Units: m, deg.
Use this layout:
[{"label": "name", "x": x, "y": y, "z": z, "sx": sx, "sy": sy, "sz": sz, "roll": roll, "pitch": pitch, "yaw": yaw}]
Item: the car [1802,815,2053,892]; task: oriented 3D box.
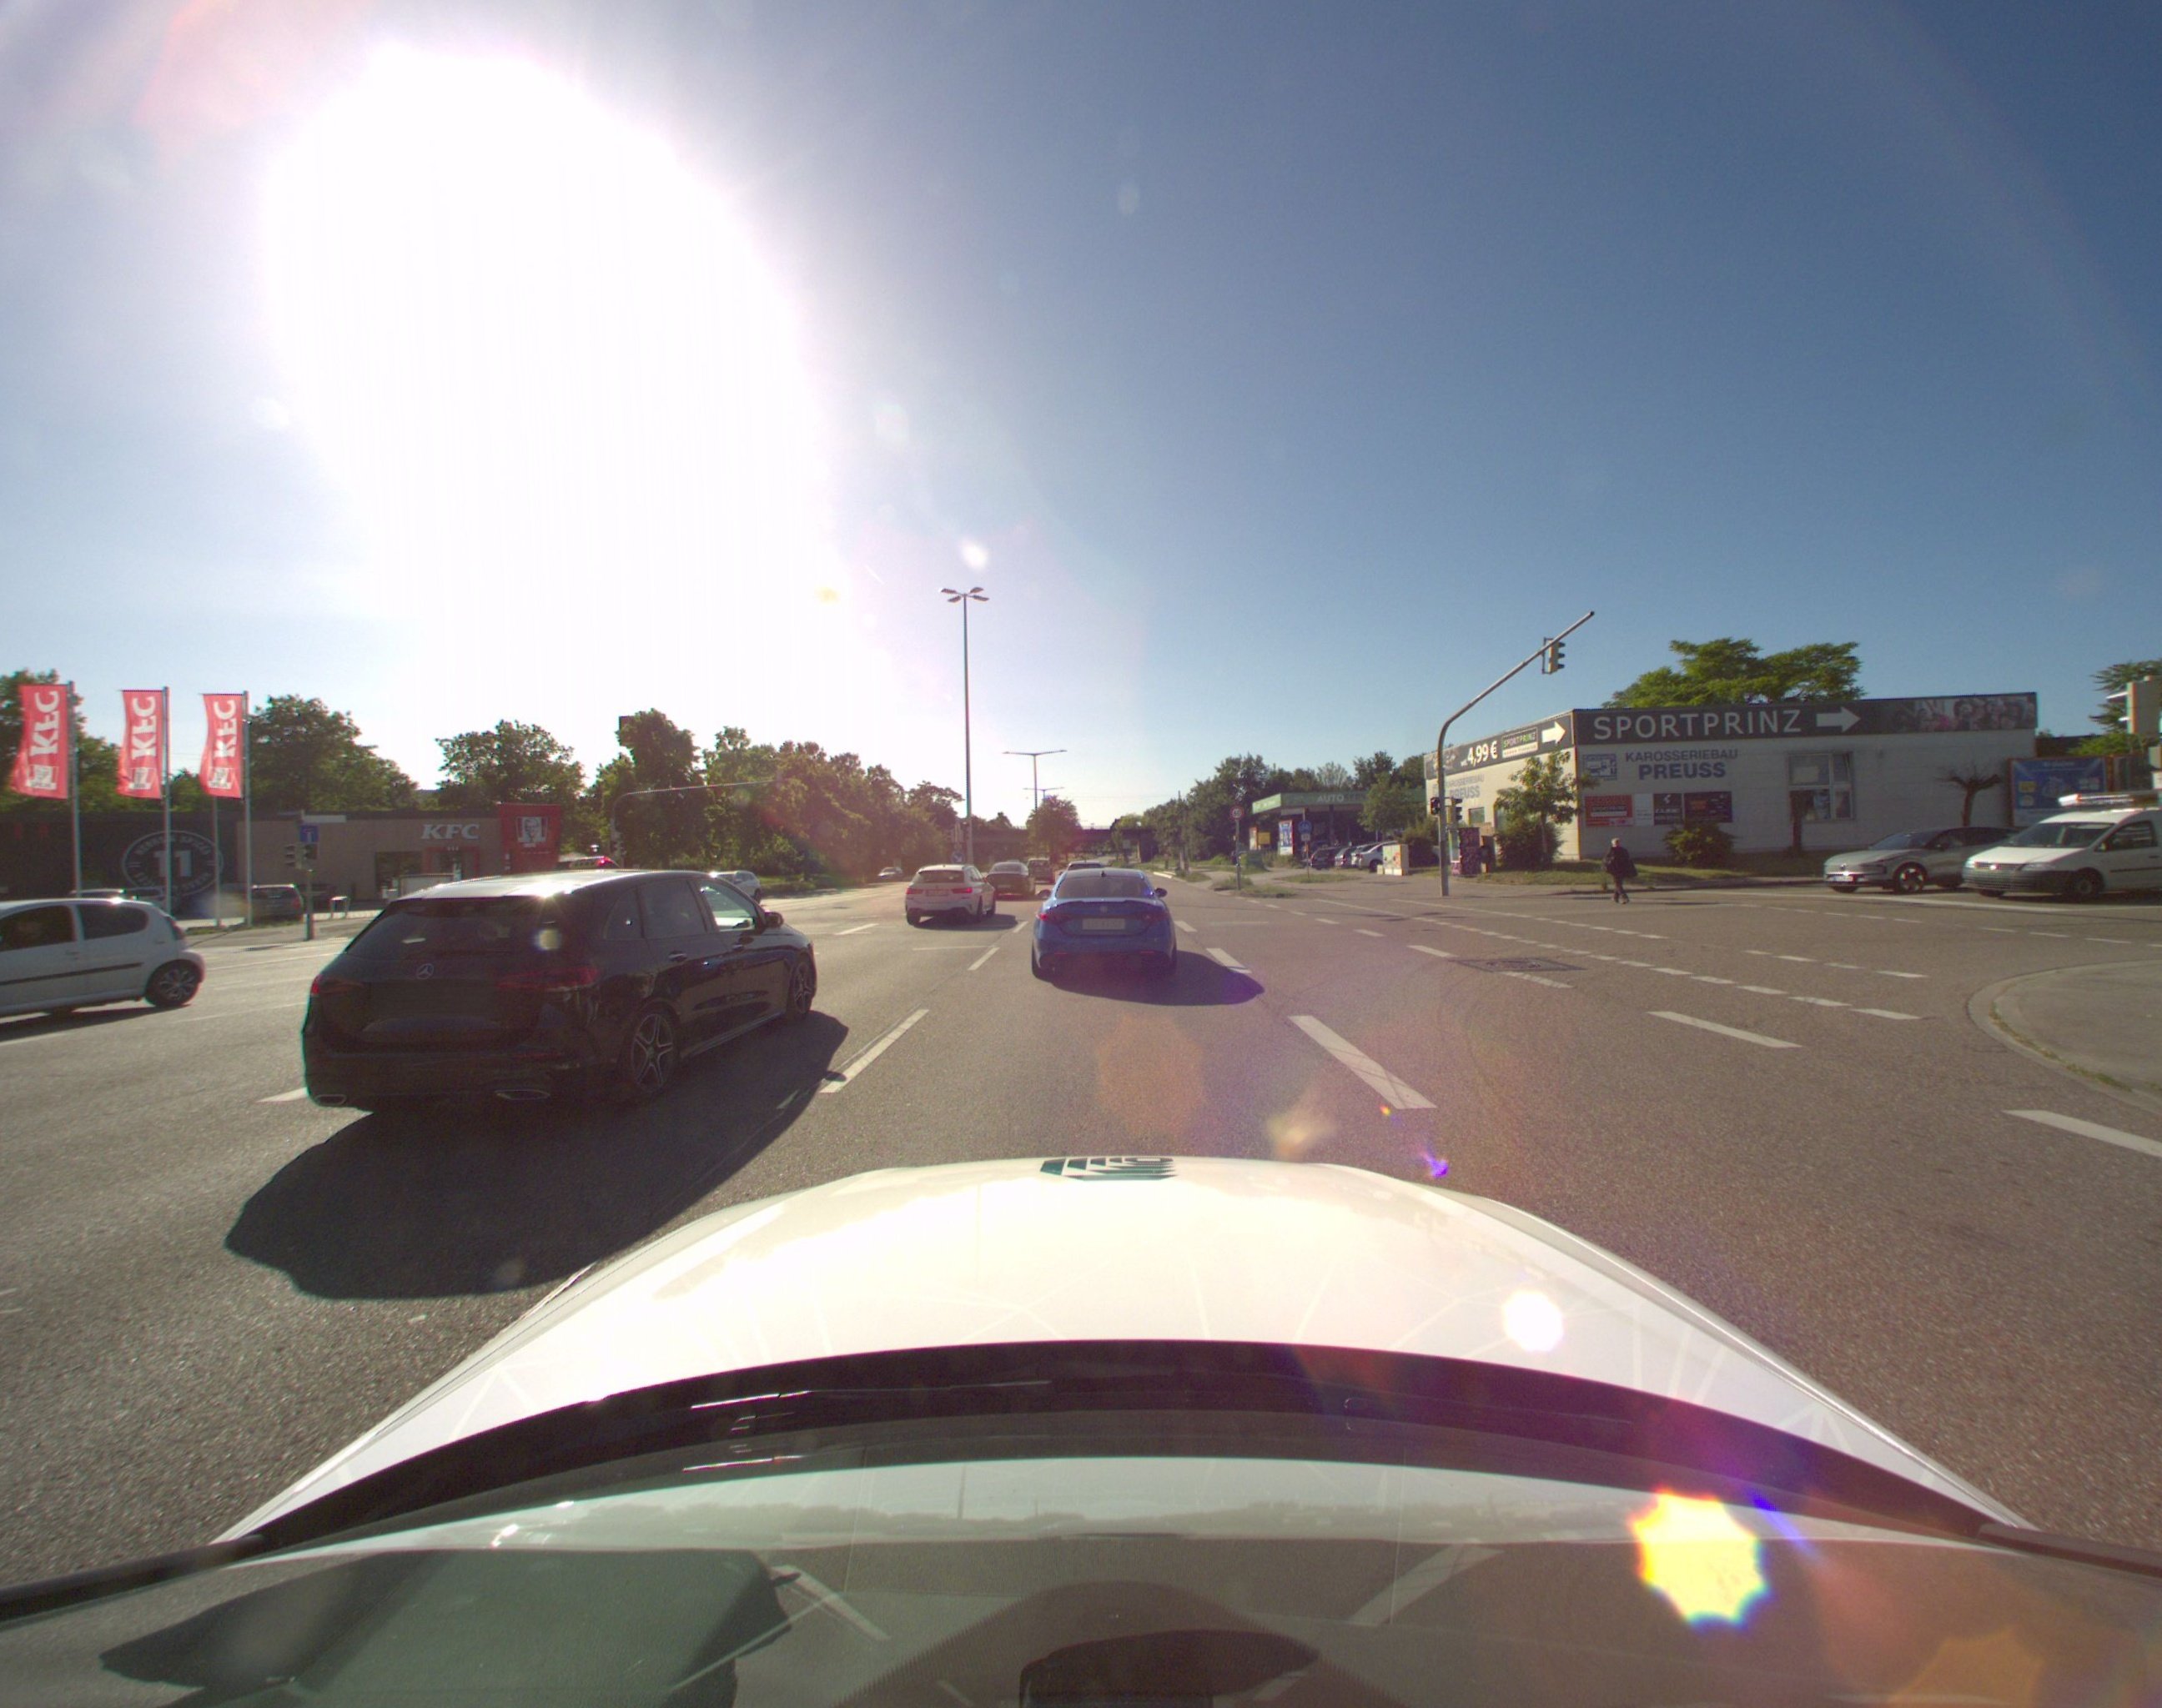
[{"label": "car", "x": 20.770, "y": 0.013, "z": 20.131, "sx": 4.075, "sy": 1.645, "sz": 1.902, "roll": -3, "pitch": -2, "yaw": 1}]

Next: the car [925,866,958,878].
[{"label": "car", "x": -16.714, "y": 2.150, "z": 97.956, "sx": 1.978, "sy": 1.376, "sz": 4.643, "roll": -2, "pitch": -1, "yaw": 16}]

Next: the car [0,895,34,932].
[{"label": "car", "x": -49.569, "y": 2.716, "z": 36.983, "sx": 1.894, "sy": 1.519, "sz": 3.951, "roll": 0, "pitch": -1, "yaw": -44}]

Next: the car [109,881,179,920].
[{"label": "car", "x": -46.398, "y": 2.259, "z": 40.408, "sx": 1.894, "sy": 1.748, "sz": 3.951, "roll": -2, "pitch": 0, "yaw": -44}]

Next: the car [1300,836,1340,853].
[{"label": "car", "x": 27.228, "y": -1.074, "z": 92.720, "sx": 4.021, "sy": 1.531, "sz": 1.735, "roll": -4, "pitch": -1, "yaw": 2}]

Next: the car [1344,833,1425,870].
[{"label": "car", "x": 16.887, "y": -0.123, "z": 45.513, "sx": 3.893, "sy": 1.452, "sz": 1.731, "roll": -9, "pitch": -1, "yaw": 12}]

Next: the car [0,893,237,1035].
[{"label": "car", "x": -12.415, "y": 1.276, "z": 9.262, "sx": 1.688, "sy": 1.432, "sz": 3.666, "roll": -3, "pitch": -1, "yaw": 2}]

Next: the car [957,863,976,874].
[{"label": "car", "x": -16.889, "y": 2.141, "z": 120.425, "sx": 1.986, "sy": 1.474, "sz": 4.196, "roll": -2, "pitch": -1, "yaw": 1}]

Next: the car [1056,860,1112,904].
[{"label": "car", "x": 0.150, "y": 0.958, "z": 29.736, "sx": 1.876, "sy": 1.454, "sz": 4.527, "roll": 0, "pitch": 0, "yaw": 1}]

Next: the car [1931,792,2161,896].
[{"label": "car", "x": 20.856, "y": -0.216, "z": 16.767, "sx": 4.663, "sy": 1.934, "sz": 1.873, "roll": -2, "pitch": -1, "yaw": 1}]

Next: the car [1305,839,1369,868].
[{"label": "car", "x": 16.679, "y": -0.031, "z": 53.007, "sx": 1.877, "sy": 1.531, "sz": 4.865, "roll": -5, "pitch": 0, "yaw": 44}]

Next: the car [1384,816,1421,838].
[{"label": "car", "x": 29.427, "y": -2.427, "z": 74.644, "sx": 1.911, "sy": 1.755, "sz": 3.780, "roll": -3, "pitch": -1, "yaw": 2}]

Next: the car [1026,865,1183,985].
[{"label": "car", "x": 0.326, "y": 0.879, "z": 11.862, "sx": 1.876, "sy": 1.406, "sz": 4.224, "roll": 0, "pitch": 0, "yaw": 1}]

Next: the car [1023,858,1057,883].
[{"label": "car", "x": -2.536, "y": 1.008, "z": 51.267, "sx": 1.773, "sy": 1.454, "sz": 4.182, "roll": -2, "pitch": 0, "yaw": 1}]

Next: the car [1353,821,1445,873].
[{"label": "car", "x": 16.420, "y": -0.374, "z": 42.094, "sx": 3.948, "sy": 2.013, "sz": 1.697, "roll": -10, "pitch": -1, "yaw": 33}]

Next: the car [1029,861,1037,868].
[{"label": "car", "x": -11.427, "y": 2.532, "z": 193.607, "sx": 1.635, "sy": 1.451, "sz": 4.112, "roll": -4, "pitch": -1, "yaw": 1}]

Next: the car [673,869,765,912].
[{"label": "car", "x": -15.538, "y": 1.512, "z": 35.261, "sx": 1.888, "sy": 1.600, "sz": 4.268, "roll": -3, "pitch": -1, "yaw": 2}]

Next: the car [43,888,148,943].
[{"label": "car", "x": -38.138, "y": 2.328, "z": 31.625, "sx": 1.856, "sy": 1.851, "sz": 3.786, "roll": 0, "pitch": -1, "yaw": -39}]

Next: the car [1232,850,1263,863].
[{"label": "car", "x": 19.314, "y": 0.248, "z": 94.444, "sx": 3.271, "sy": 1.486, "sz": 1.773, "roll": 0, "pitch": -1, "yaw": 2}]

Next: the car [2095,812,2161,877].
[{"label": "car", "x": 28.281, "y": -0.317, "z": 20.175, "sx": 3.904, "sy": 1.589, "sz": 1.808, "roll": -3, "pitch": -2, "yaw": 1}]

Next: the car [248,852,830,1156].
[{"label": "car", "x": -3.532, "y": 0.814, "z": 6.446, "sx": 1.702, "sy": 1.598, "sz": 4.224, "roll": 0, "pitch": -1, "yaw": 1}]

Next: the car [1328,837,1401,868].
[{"label": "car", "x": 16.906, "y": -0.060, "z": 48.706, "sx": 3.593, "sy": 1.290, "sz": 1.842, "roll": -9, "pitch": -1, "yaw": 2}]

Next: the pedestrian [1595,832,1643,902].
[{"label": "pedestrian", "x": 13.618, "y": 0.316, "z": 20.626, "sx": 0.754, "sy": 1.716, "sz": 0.618, "roll": -2, "pitch": -1, "yaw": 1}]

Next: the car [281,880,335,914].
[{"label": "car", "x": -41.377, "y": 2.260, "z": 43.667, "sx": 1.906, "sy": 1.662, "sz": 4.191, "roll": 0, "pitch": -1, "yaw": -42}]

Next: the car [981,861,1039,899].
[{"label": "car", "x": -2.840, "y": 1.009, "z": 33.316, "sx": 1.876, "sy": 1.454, "sz": 4.527, "roll": 0, "pitch": 0, "yaw": 1}]

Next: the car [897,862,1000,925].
[{"label": "car", "x": -3.337, "y": 0.959, "z": 21.433, "sx": 1.876, "sy": 1.454, "sz": 4.527, "roll": 0, "pitch": 0, "yaw": 1}]

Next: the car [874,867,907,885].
[{"label": "car", "x": -17.732, "y": 2.015, "z": 75.990, "sx": 1.986, "sy": 1.525, "sz": 4.197, "roll": -2, "pitch": 0, "yaw": 1}]
